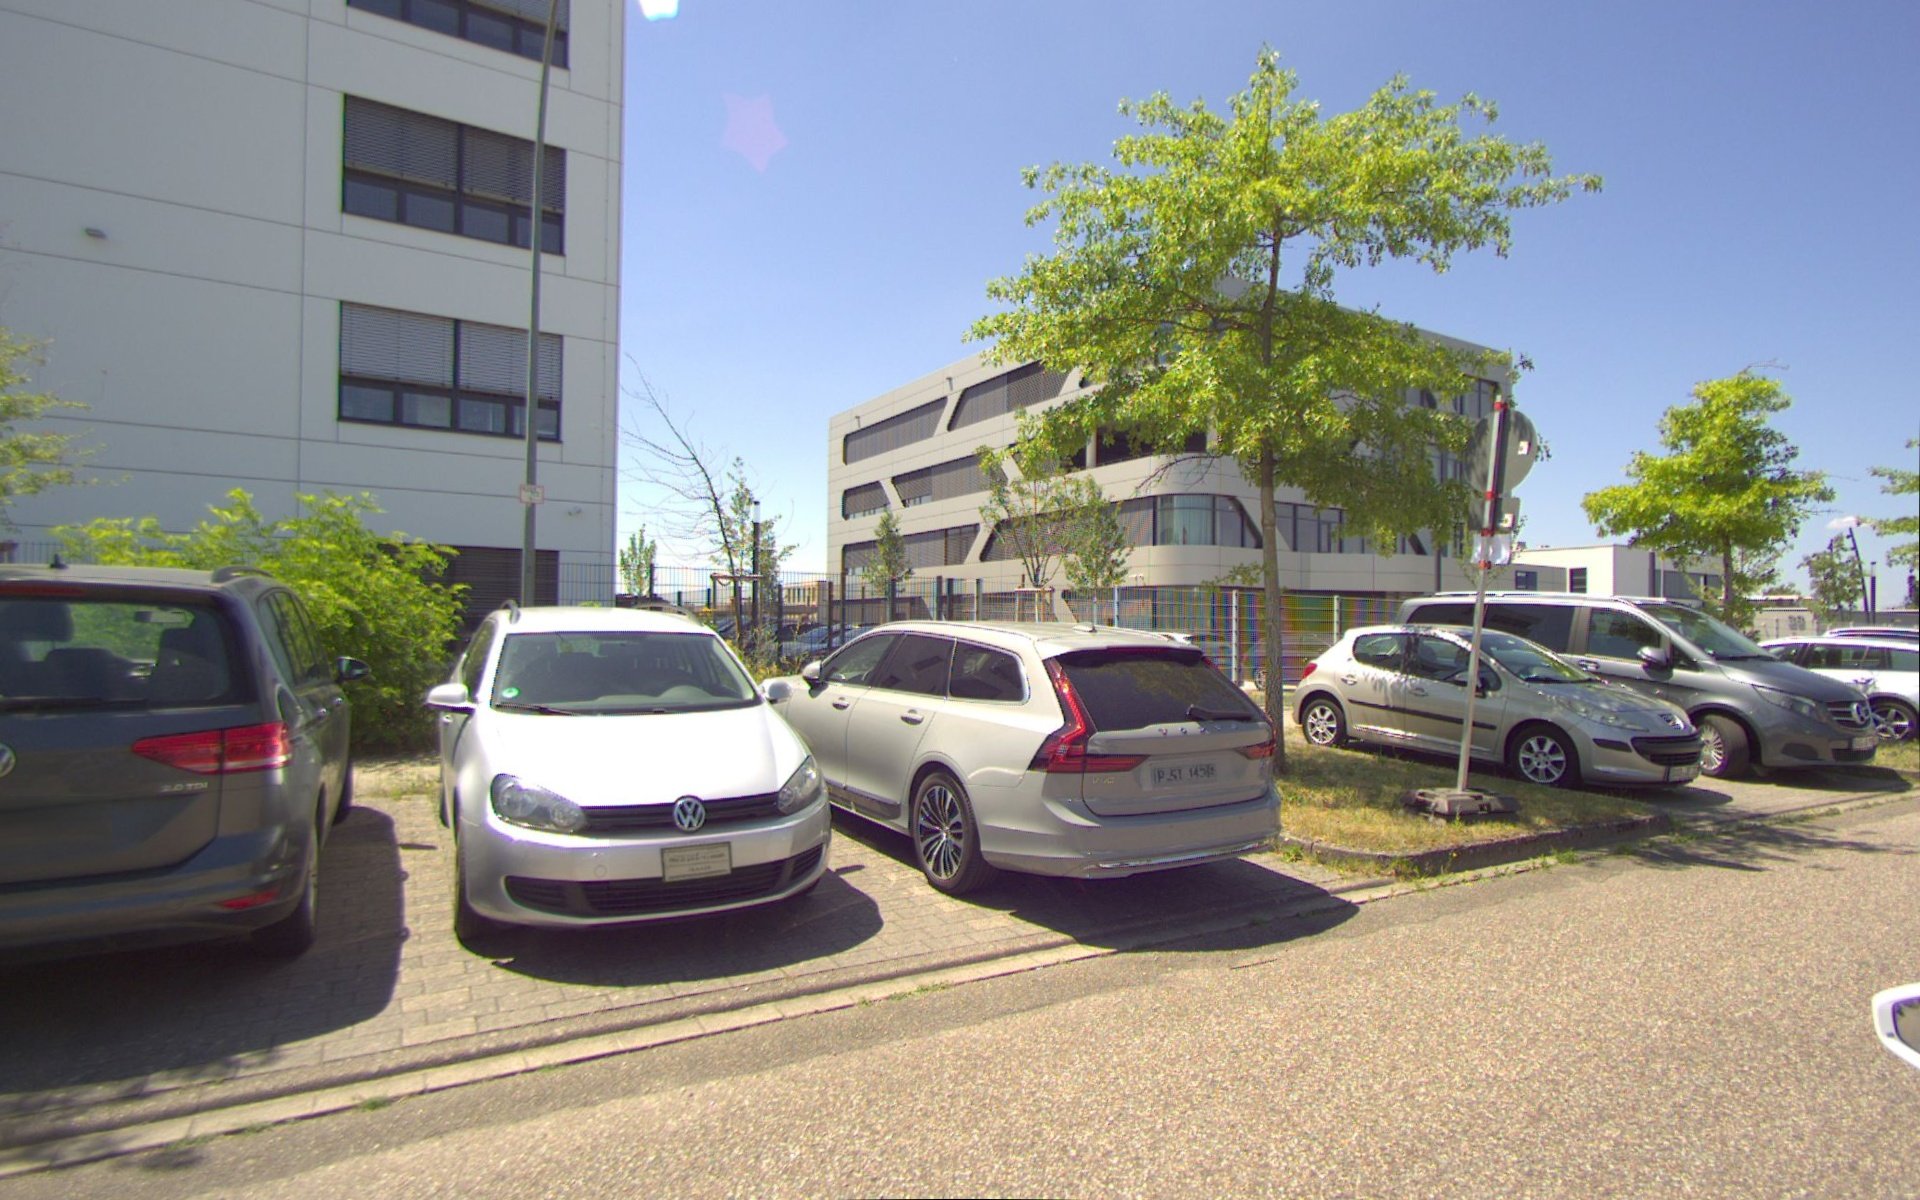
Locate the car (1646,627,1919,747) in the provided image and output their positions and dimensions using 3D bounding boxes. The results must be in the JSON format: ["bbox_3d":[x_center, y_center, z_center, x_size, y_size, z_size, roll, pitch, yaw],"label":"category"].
[{"bbox_3d":[12.985,1.243,15.166,1.587,1.480,4.013,2,0,-33],"label":"car"}]

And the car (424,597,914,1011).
[{"bbox_3d":[-2.079,0.772,6.031,1.708,1.493,4.287,1,0,-32],"label":"car"}]

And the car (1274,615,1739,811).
[{"bbox_3d":[5.447,0.988,10.555,1.743,1.504,3.950,1,1,-30],"label":"car"}]

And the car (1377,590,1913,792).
[{"bbox_3d":[7.882,0.868,12.231,1.973,1.917,5.048,1,0,-28],"label":"car"}]

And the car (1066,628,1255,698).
[{"bbox_3d":[4.156,1.361,21.402,1.660,1.349,3.965,2,-5,-33],"label":"car"}]

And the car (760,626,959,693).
[{"bbox_3d":[-2.246,1.346,22.549,3.955,1.243,1.984,5,-4,-31],"label":"car"}]

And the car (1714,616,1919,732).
[{"bbox_3d":[15.222,1.207,16.670,1.759,1.701,3.960,2,0,-35],"label":"car"}]

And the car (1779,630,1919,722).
[{"bbox_3d":[17.339,1.387,17.701,1.692,1.500,4.173,2,0,-30],"label":"car"}]

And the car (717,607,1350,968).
[{"bbox_3d":[0.038,0.844,6.827,1.838,1.466,4.685,1,0,-33],"label":"car"}]

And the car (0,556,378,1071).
[{"bbox_3d":[-4.013,0.659,5.045,1.706,1.656,4.100,1,0,-28],"label":"car"}]
